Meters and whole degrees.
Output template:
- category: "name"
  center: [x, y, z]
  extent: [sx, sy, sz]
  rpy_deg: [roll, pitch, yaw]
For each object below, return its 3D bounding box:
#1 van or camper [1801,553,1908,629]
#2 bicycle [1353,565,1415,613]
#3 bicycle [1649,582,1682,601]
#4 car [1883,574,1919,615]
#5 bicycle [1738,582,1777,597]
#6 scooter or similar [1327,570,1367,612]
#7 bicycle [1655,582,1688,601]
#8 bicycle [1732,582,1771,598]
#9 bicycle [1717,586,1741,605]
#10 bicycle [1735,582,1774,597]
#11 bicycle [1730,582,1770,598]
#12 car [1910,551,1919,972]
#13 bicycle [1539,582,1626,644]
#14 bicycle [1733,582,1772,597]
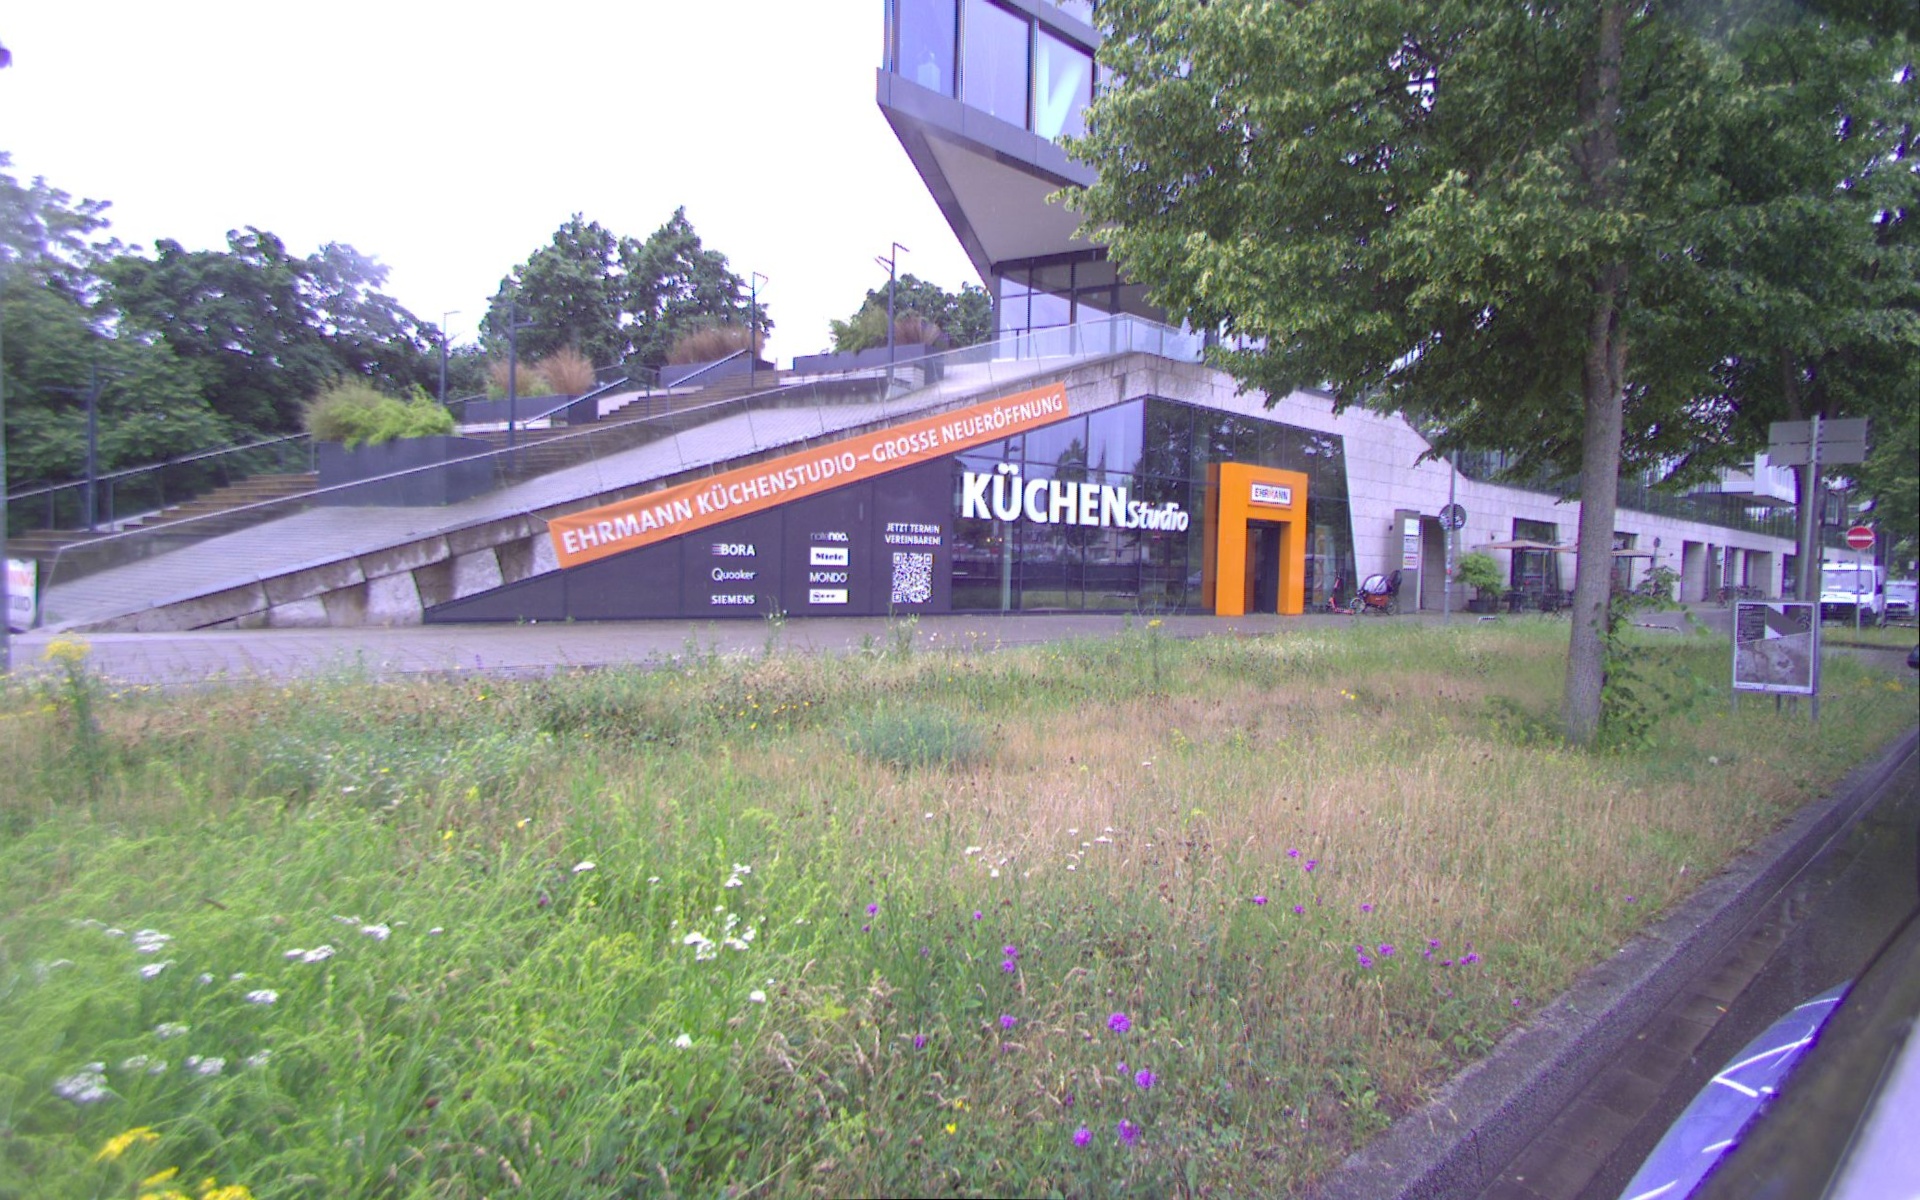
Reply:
- category: "van or camper"
  center: [29.645, -0.357, 33.485]
  extent: [5.367, 2.320, 2.028]
  rpy_deg: [-1, 2, -42]
- category: "bicycle"
  center: [13.295, -0.336, 31.692]
  extent: [2.382, 1.419, 0.734]
  rpy_deg: [0, 3, -41]
- category: "bicycle"
  center: [36.609, -0.444, 52.532]
  extent: [0.388, 0.958, 2.028]
  rpy_deg: [-1, 1, 4]
- category: "car"
  center: [43.432, -0.274, 45.954]
  extent: [4.766, 1.781, 1.744]
  rpy_deg: [-1, 2, -42]
- category: "bicycle"
  center: [54.778, -0.740, 69.555]
  extent: [0.389, 0.957, 2.025]
  rpy_deg: [-1, 4, -45]
- category: "scooter or similar"
  center: [11.743, -0.269, 30.702]
  extent: [1.214, 1.243, 0.343]
  rpy_deg: [-1, 0, -22]
- category: "bicycle"
  center: [37.239, -0.458, 52.991]
  extent: [0.388, 0.958, 2.028]
  rpy_deg: [-1, 1, 4]
- category: "bicycle"
  center: [53.033, -0.699, 67.807]
  extent: [0.389, 0.957, 2.025]
  rpy_deg: [-1, 4, -45]
- category: "bicycle"
  center: [39.833, -0.261, 52.401]
  extent: [1.823, 0.957, 0.403]
  rpy_deg: [-1, 2, -34]
- category: "bicycle"
  center: [53.898, -0.730, 68.696]
  extent: [0.389, 0.957, 2.025]
  rpy_deg: [-1, 4, -45]
- category: "bicycle"
  center: [52.620, -0.693, 67.405]
  extent: [0.389, 0.957, 2.025]
  rpy_deg: [-1, 4, -45]
- category: "car"
  center: [5.777, 0.591, 4.533]
  extent: [3.930, 1.632, 1.814]
  rpy_deg: [-1, 1, -41]
- category: "bicycle"
  center: [14.578, 0.280, 23.747]
  extent: [0.521, 1.363, 1.852]
  rpy_deg: [2, 1, -16]
- category: "bicycle"
  center: [53.488, -0.710, 68.301]
  extent: [0.389, 0.957, 2.025]
  rpy_deg: [-1, 4, -45]
